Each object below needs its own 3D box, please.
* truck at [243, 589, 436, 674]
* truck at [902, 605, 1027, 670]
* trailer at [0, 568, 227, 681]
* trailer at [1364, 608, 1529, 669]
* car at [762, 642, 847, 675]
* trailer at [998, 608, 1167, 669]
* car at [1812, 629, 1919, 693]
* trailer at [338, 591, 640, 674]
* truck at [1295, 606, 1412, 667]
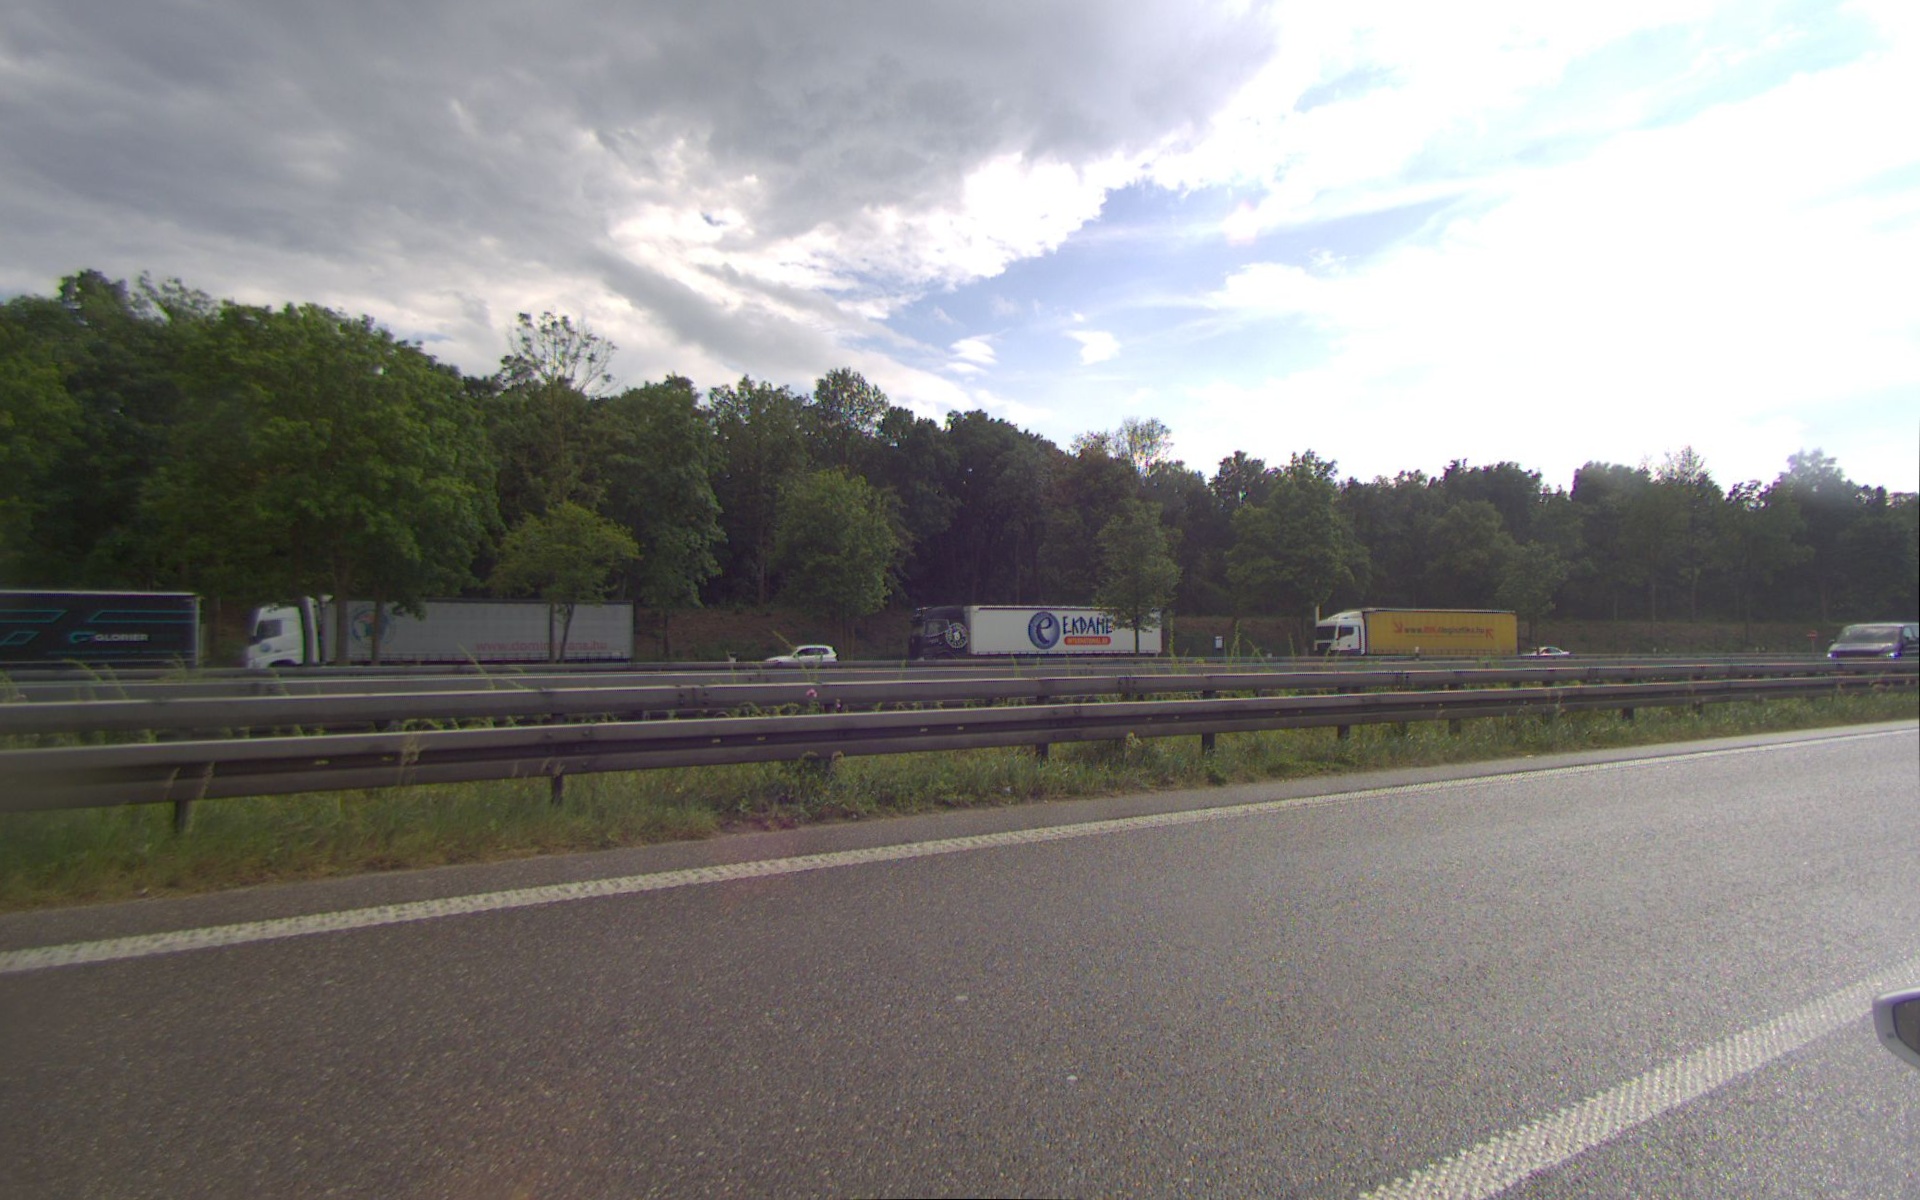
[{"bbox_3d":[-28.619,1.458,46.738,7.269,3.637,3.769,2,0,-30],"label":"truck"},{"bbox_3d":[0.260,2.252,60.993,6.615,3.709,3.776,2,0,-25],"label":"truck"},{"bbox_3d":[-38.912,1.013,41.368,13.638,4.464,3.771,1,-2,-30],"label":"trailer"},{"bbox_3d":[36.136,2.855,74.595,11.538,4.171,3.786,2,0,-17],"label":"trailer"},{"bbox_3d":[-8.770,3.287,56.836,4.313,1.741,2.050,2,0,-28],"label":"car"},{"bbox_3d":[7.885,2.462,64.501,10.350,3.697,3.780,1,-1,-24],"label":"trailer"},{"bbox_3d":[30.411,1.994,33.202,5.001,1.916,1.943,2,0,-31],"label":"car"},{"bbox_3d":[-23.073,1.635,49.974,13.187,3.697,3.771,1,-2,-30],"label":"trailer"},{"bbox_3d":[28.221,2.594,72.116,6.933,4.171,3.786,2,0,-17],"label":"truck"}]
